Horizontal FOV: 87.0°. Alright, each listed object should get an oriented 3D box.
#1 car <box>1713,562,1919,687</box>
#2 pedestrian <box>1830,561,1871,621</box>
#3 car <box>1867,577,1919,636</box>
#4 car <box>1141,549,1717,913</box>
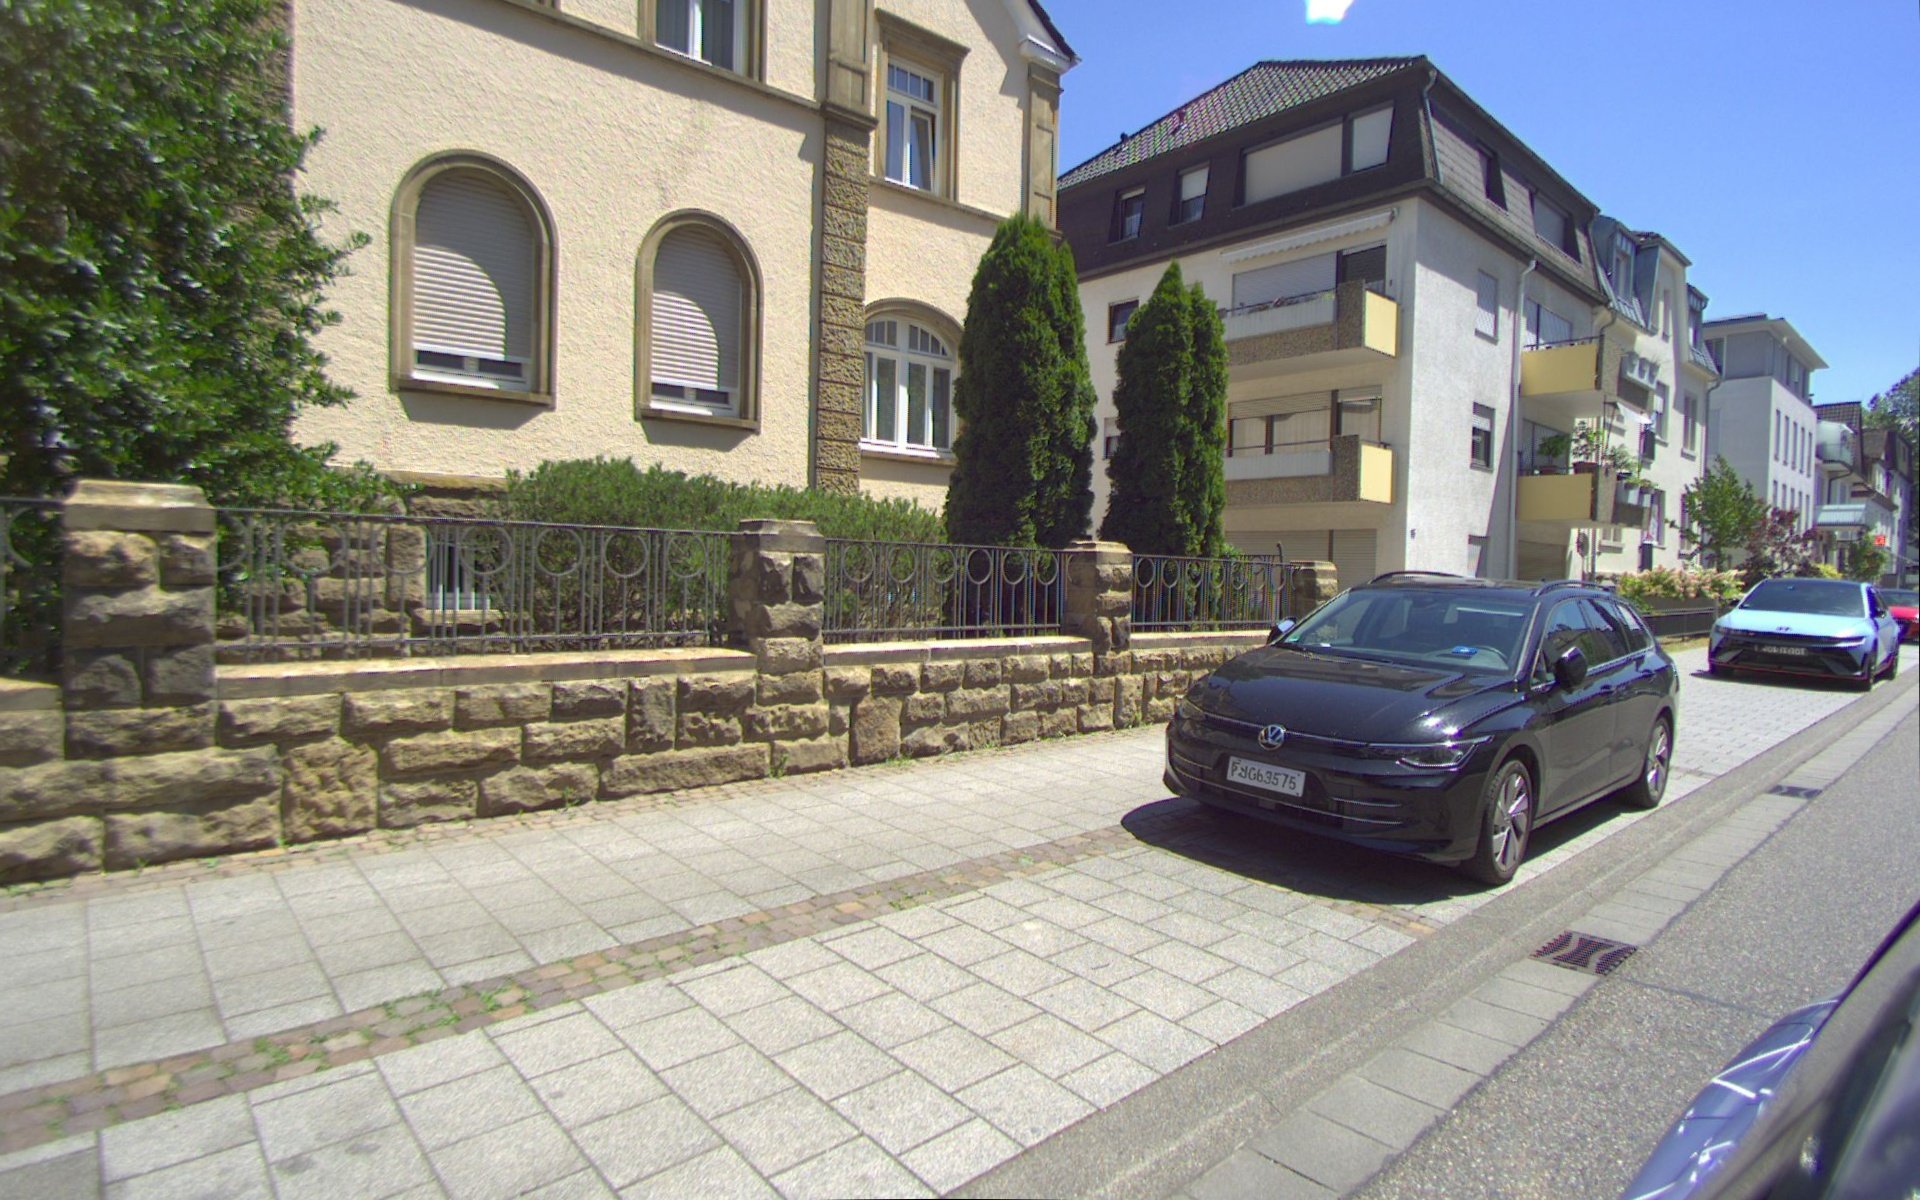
[{"bbox_3d":[13.711,0.301,16.105,4.351,1.639,1.847,0,4,-42],"label":"car"},{"bbox_3d":[26.382,-0.268,29.986,0.694,1.689,0.742,0,5,-43],"label":"pedestrian"},{"bbox_3d":[26.008,0.179,27.401,3.785,1.457,1.607,0,5,-41],"label":"car"},{"bbox_3d":[3.166,0.518,6.338,4.322,1.463,1.635,0,5,-42],"label":"car"}]
